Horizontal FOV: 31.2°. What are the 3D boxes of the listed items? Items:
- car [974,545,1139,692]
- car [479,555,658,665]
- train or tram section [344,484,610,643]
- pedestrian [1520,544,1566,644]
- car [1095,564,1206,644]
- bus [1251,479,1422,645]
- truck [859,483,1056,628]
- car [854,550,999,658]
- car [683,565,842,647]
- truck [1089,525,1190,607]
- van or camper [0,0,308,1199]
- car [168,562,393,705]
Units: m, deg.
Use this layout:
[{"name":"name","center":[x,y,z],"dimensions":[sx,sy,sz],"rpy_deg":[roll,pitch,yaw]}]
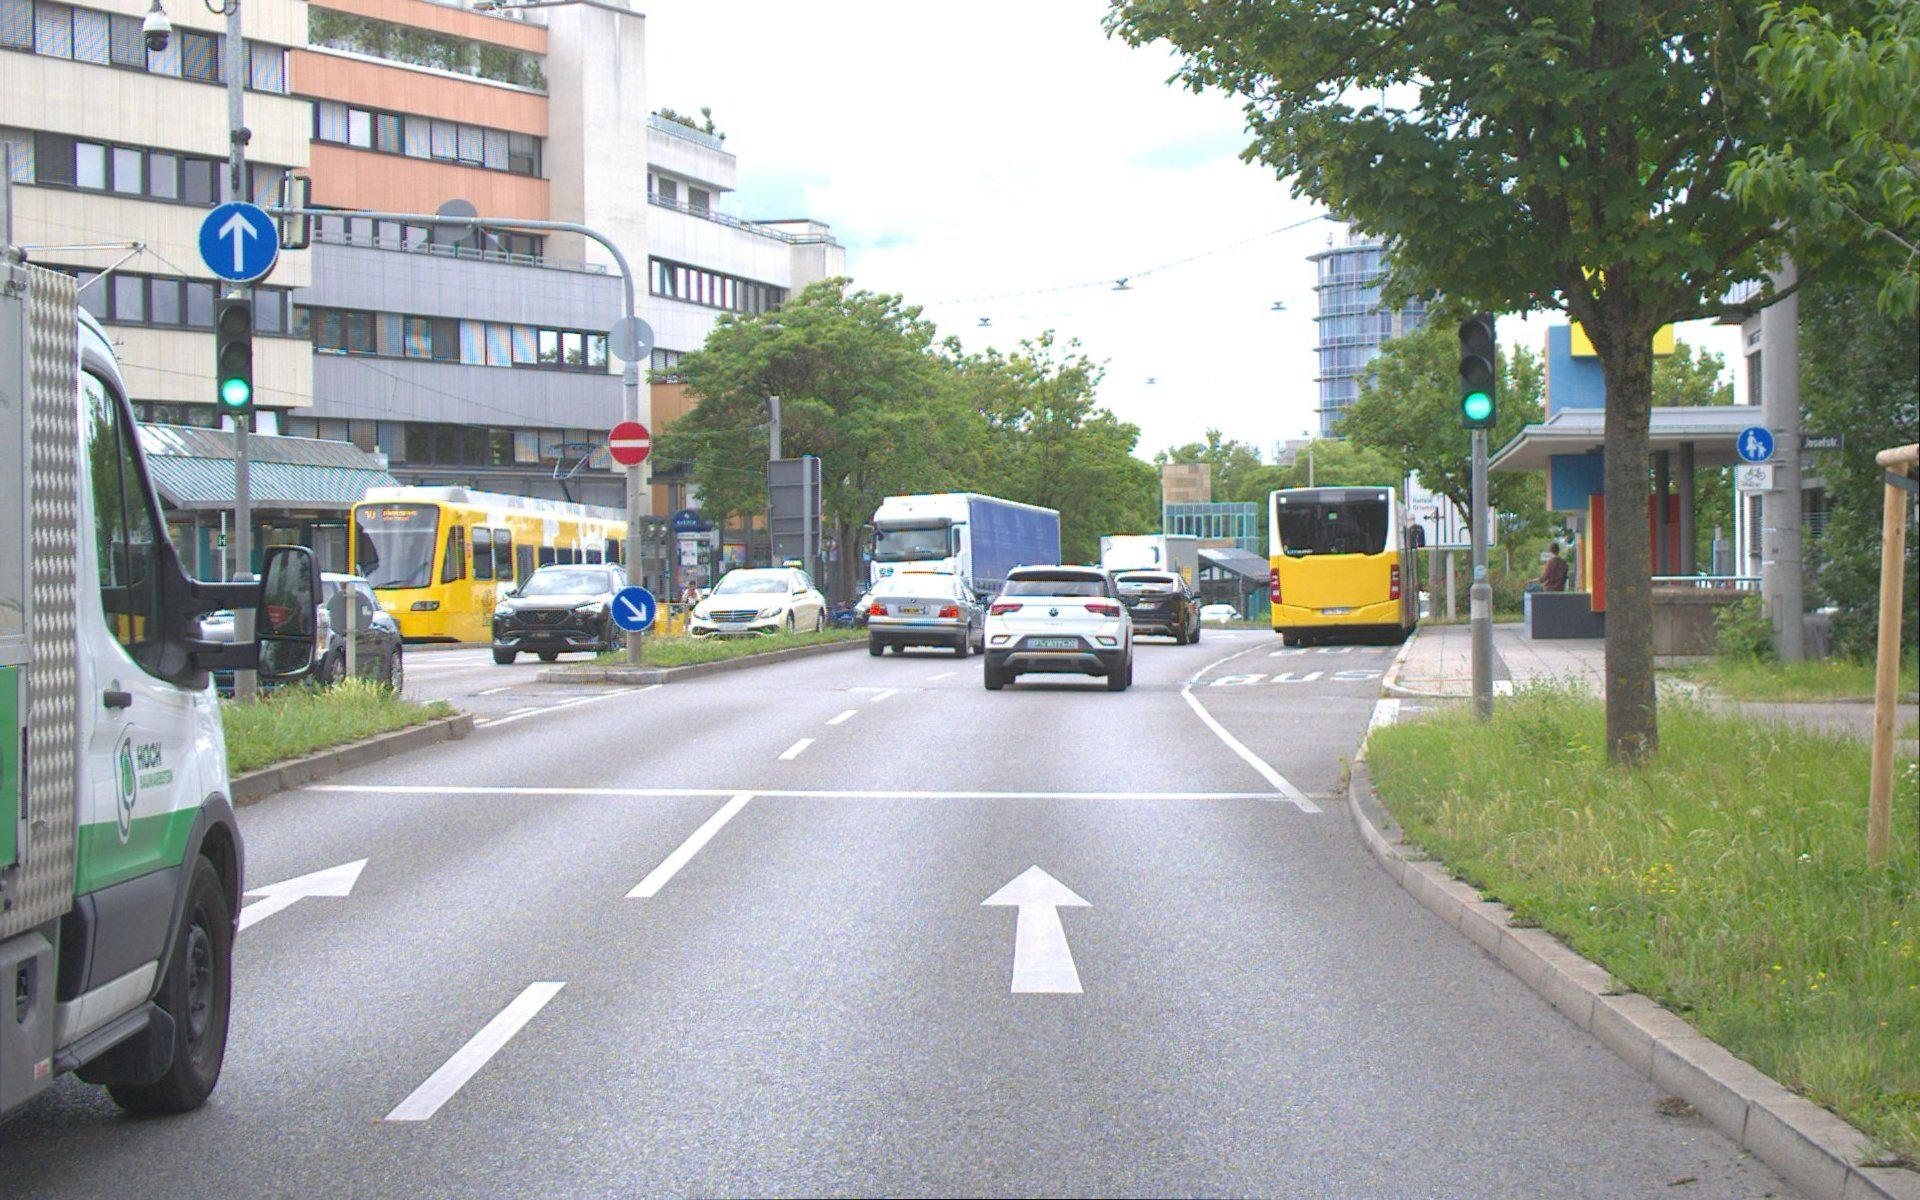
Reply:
[{"name":"car","center":[1.271,0.196,43.787],"dimensions":[1.700,1.543,3.736],"rpy_deg":[3,4,7]},{"name":"car","center":[-5.987,0.155,52.974],"dimensions":[1.898,1.612,4.274],"rpy_deg":[0,0,5]},{"name":"train or tram section","center":[-11.045,-0.833,80.404],"dimensions":[2.560,3.399,13.078],"rpy_deg":[-1,0,8]},{"name":"pedestrian","center":[10.675,-0.118,62.949],"dimensions":[0.709,1.809,0.764],"rpy_deg":[0,0,-1]},{"name":"car","center":[3.959,0.066,71.032],"dimensions":[1.701,1.510,3.492],"rpy_deg":[1,2,13]},{"name":"bus","center":[7.894,-0.805,71.056],"dimensions":[2.955,3.179,9.925],"rpy_deg":[0,1,9]},{"name":"truck","center":[0.147,-1.367,104.758],"dimensions":[2.955,4.066,16.595],"rpy_deg":[0,1,11]},{"name":"car","center":[-0.525,0.040,57.432],"dimensions":[1.700,1.510,3.735],"rpy_deg":[1,4,11]},{"name":"car","center":[-3.737,0.084,65.853],"dimensions":[1.966,1.493,4.773],"rpy_deg":[0,1,10]},{"name":"truck","center":[6.972,-1.321,132.431],"dimensions":[3.084,3.018,9.355],"rpy_deg":[0,1,8]},{"name":"van or camper","center":[-3.075,0.109,7.177],"dimensions":[2.343,2.652,5.966],"rpy_deg":[1,2,-1]},{"name":"car","center":[-7.200,0.345,36.723],"dimensions":[1.614,1.441,3.652],"rpy_deg":[0,0,1]}]
